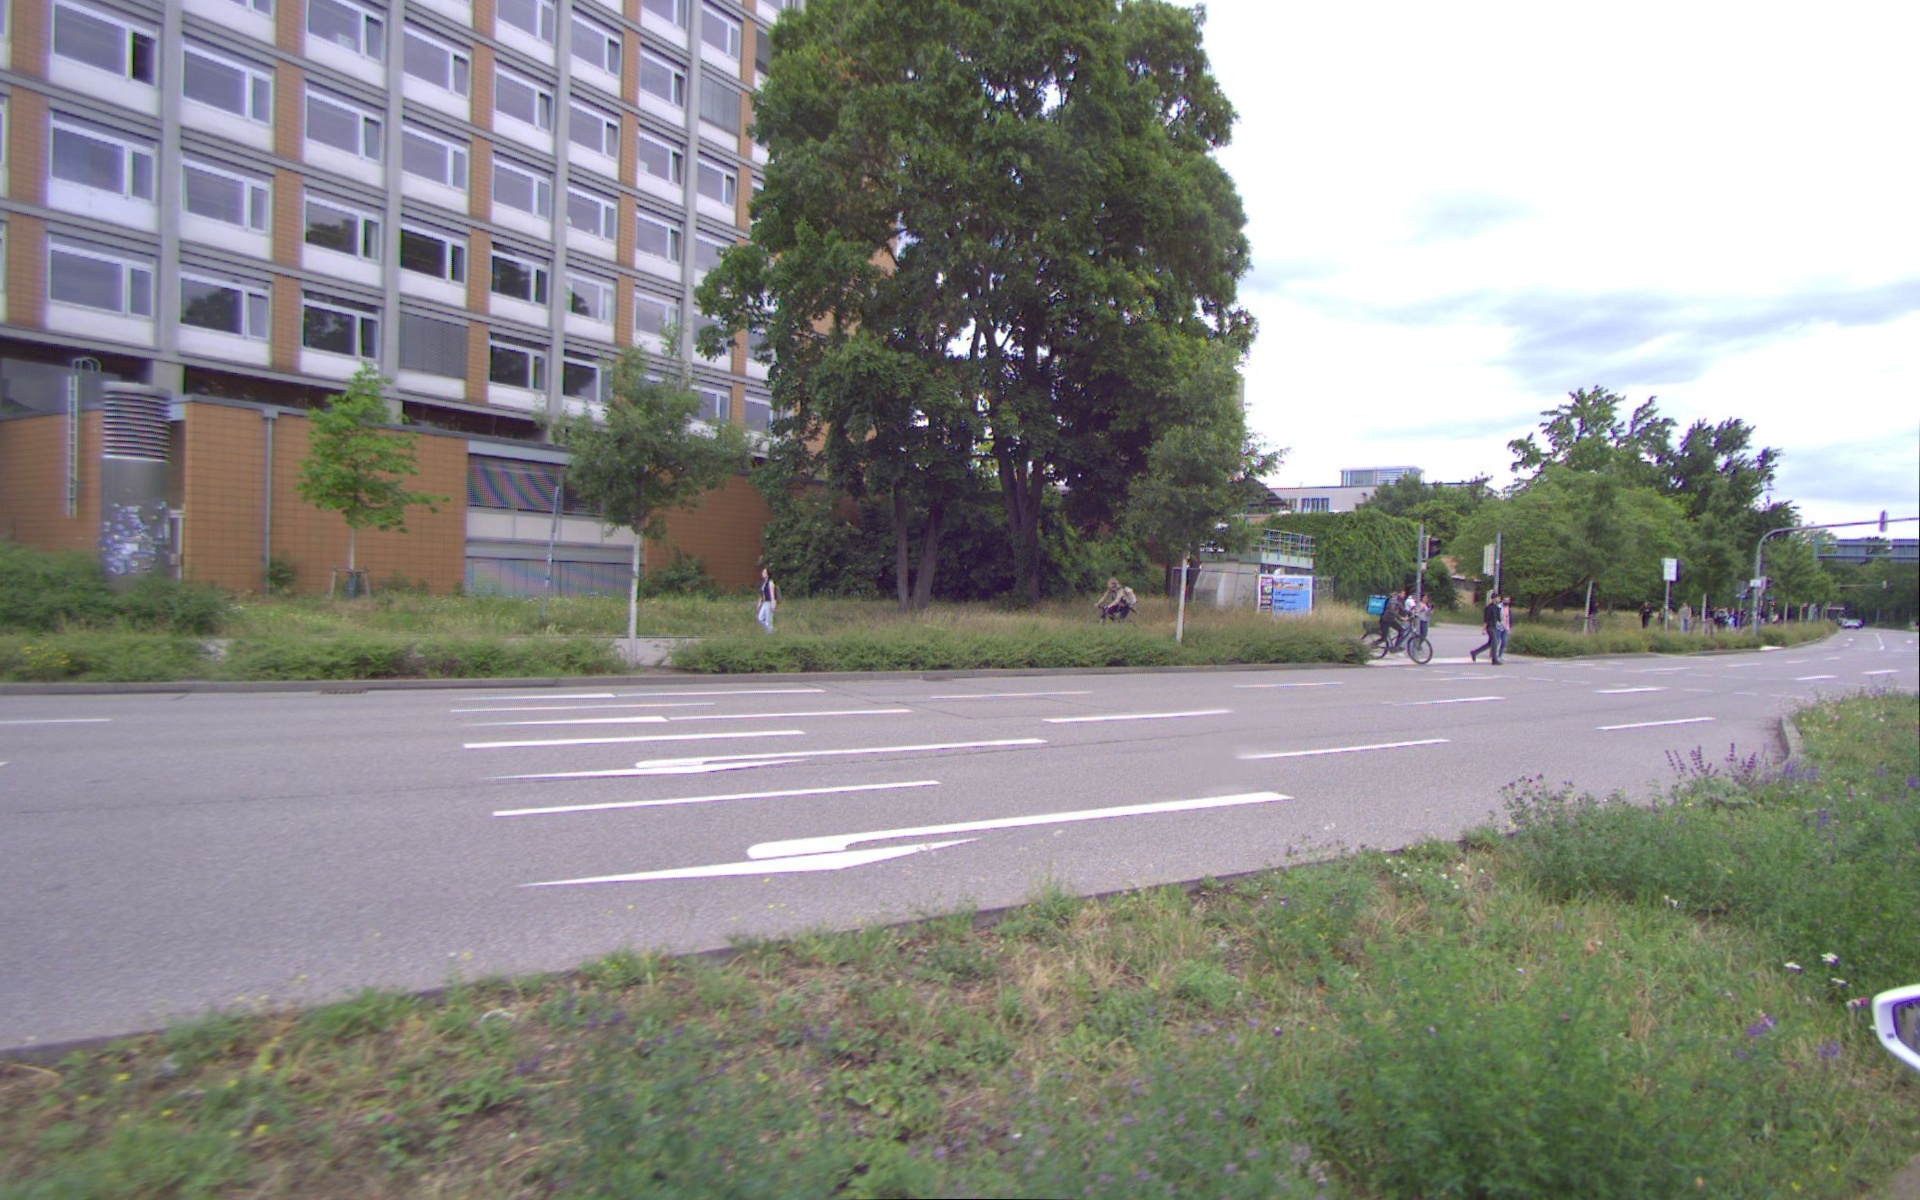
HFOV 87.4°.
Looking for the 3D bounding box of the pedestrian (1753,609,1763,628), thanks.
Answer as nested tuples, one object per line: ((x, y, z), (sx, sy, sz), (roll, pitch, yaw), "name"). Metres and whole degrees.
((89.206, 2.079, 112.246), (0.776, 2.040, 0.715), (1, 1, -41), "pedestrian")

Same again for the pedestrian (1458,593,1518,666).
((13.860, 0.760, 26.376), (0.855, 1.867, 1.044), (1, 1, -29), "pedestrian")

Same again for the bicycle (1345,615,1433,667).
((10.830, 1.013, 25.365), (1.877, 1.174, 0.788), (2, 1, 39), "bicycle")

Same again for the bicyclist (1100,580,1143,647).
((3.938, 0.326, 24.552), (0.703, 1.591, 0.711), (1, 1, -30), "bicyclist")

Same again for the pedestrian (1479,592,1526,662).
((14.947, 0.736, 27.670), (0.659, 1.867, 0.889), (1, 1, -29), "pedestrian")

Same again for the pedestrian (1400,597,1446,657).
((13.216, 0.760, 28.681), (0.796, 1.671, 0.838), (1, 1, -29), "pedestrian")

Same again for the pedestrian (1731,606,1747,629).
((63.003, 1.414, 81.221), (0.908, 1.804, 1.057), (2, 5, 44), "pedestrian")

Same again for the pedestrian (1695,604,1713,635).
((46.338, 1.216, 62.590), (0.752, 1.895, 0.707), (1, 1, -42), "pedestrian")

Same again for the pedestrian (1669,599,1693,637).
((39.508, 1.005, 55.018), (1.038, 2.040, 0.749), (1, 1, -39), "pedestrian")

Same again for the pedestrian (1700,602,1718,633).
((49.407, 1.147, 66.247), (1.039, 2.040, 0.748), (1, 1, -42), "pedestrian")

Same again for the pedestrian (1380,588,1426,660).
((11.883, 0.633, 26.960), (0.757, 1.867, 0.753), (1, 2, -29), "pedestrian")

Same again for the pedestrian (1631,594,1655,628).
((36.222, 0.594, 53.263), (0.898, 1.789, 0.749), (1, 1, -38), "pedestrian")

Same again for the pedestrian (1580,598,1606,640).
((31.196, 0.935, 49.497), (1.038, 2.040, 0.749), (1, 1, -39), "pedestrian")

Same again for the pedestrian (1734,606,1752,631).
((56.670, 1.347, 72.720), (0.908, 1.803, 1.058), (2, 1, 43), "pedestrian")

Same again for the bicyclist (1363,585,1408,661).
((10.766, 0.581, 25.413), (0.821, 1.869, 0.789), (2, 1, 39), "bicyclist")

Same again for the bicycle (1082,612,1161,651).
((3.959, 0.770, 24.572), (1.861, 0.894, 0.711), (1, 1, -30), "bicycle")

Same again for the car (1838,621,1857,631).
((134.735, 3.918, 152.473), (1.664, 1.435, 3.631), (3, 1, 35), "car")

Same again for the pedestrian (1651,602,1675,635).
((36.951, 0.968, 52.793), (1.038, 1.735, 0.749), (1, 1, -39), "pedestrian")

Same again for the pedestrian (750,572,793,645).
((-4.128, 0.189, 21.957), (0.746, 1.562, 0.558), (1, 1, -30), "pedestrian")

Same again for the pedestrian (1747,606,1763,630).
((63.715, 1.447, 80.525), (0.908, 1.804, 1.057), (2, 6, 43), "pedestrian")

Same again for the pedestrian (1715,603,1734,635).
((50.002, 1.228, 65.678), (1.039, 2.040, 0.748), (1, 1, -42), "pedestrian")

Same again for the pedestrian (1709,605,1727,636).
((46.784, 1.255, 61.985), (0.752, 1.895, 0.707), (1, 1, -42), "pedestrian")
